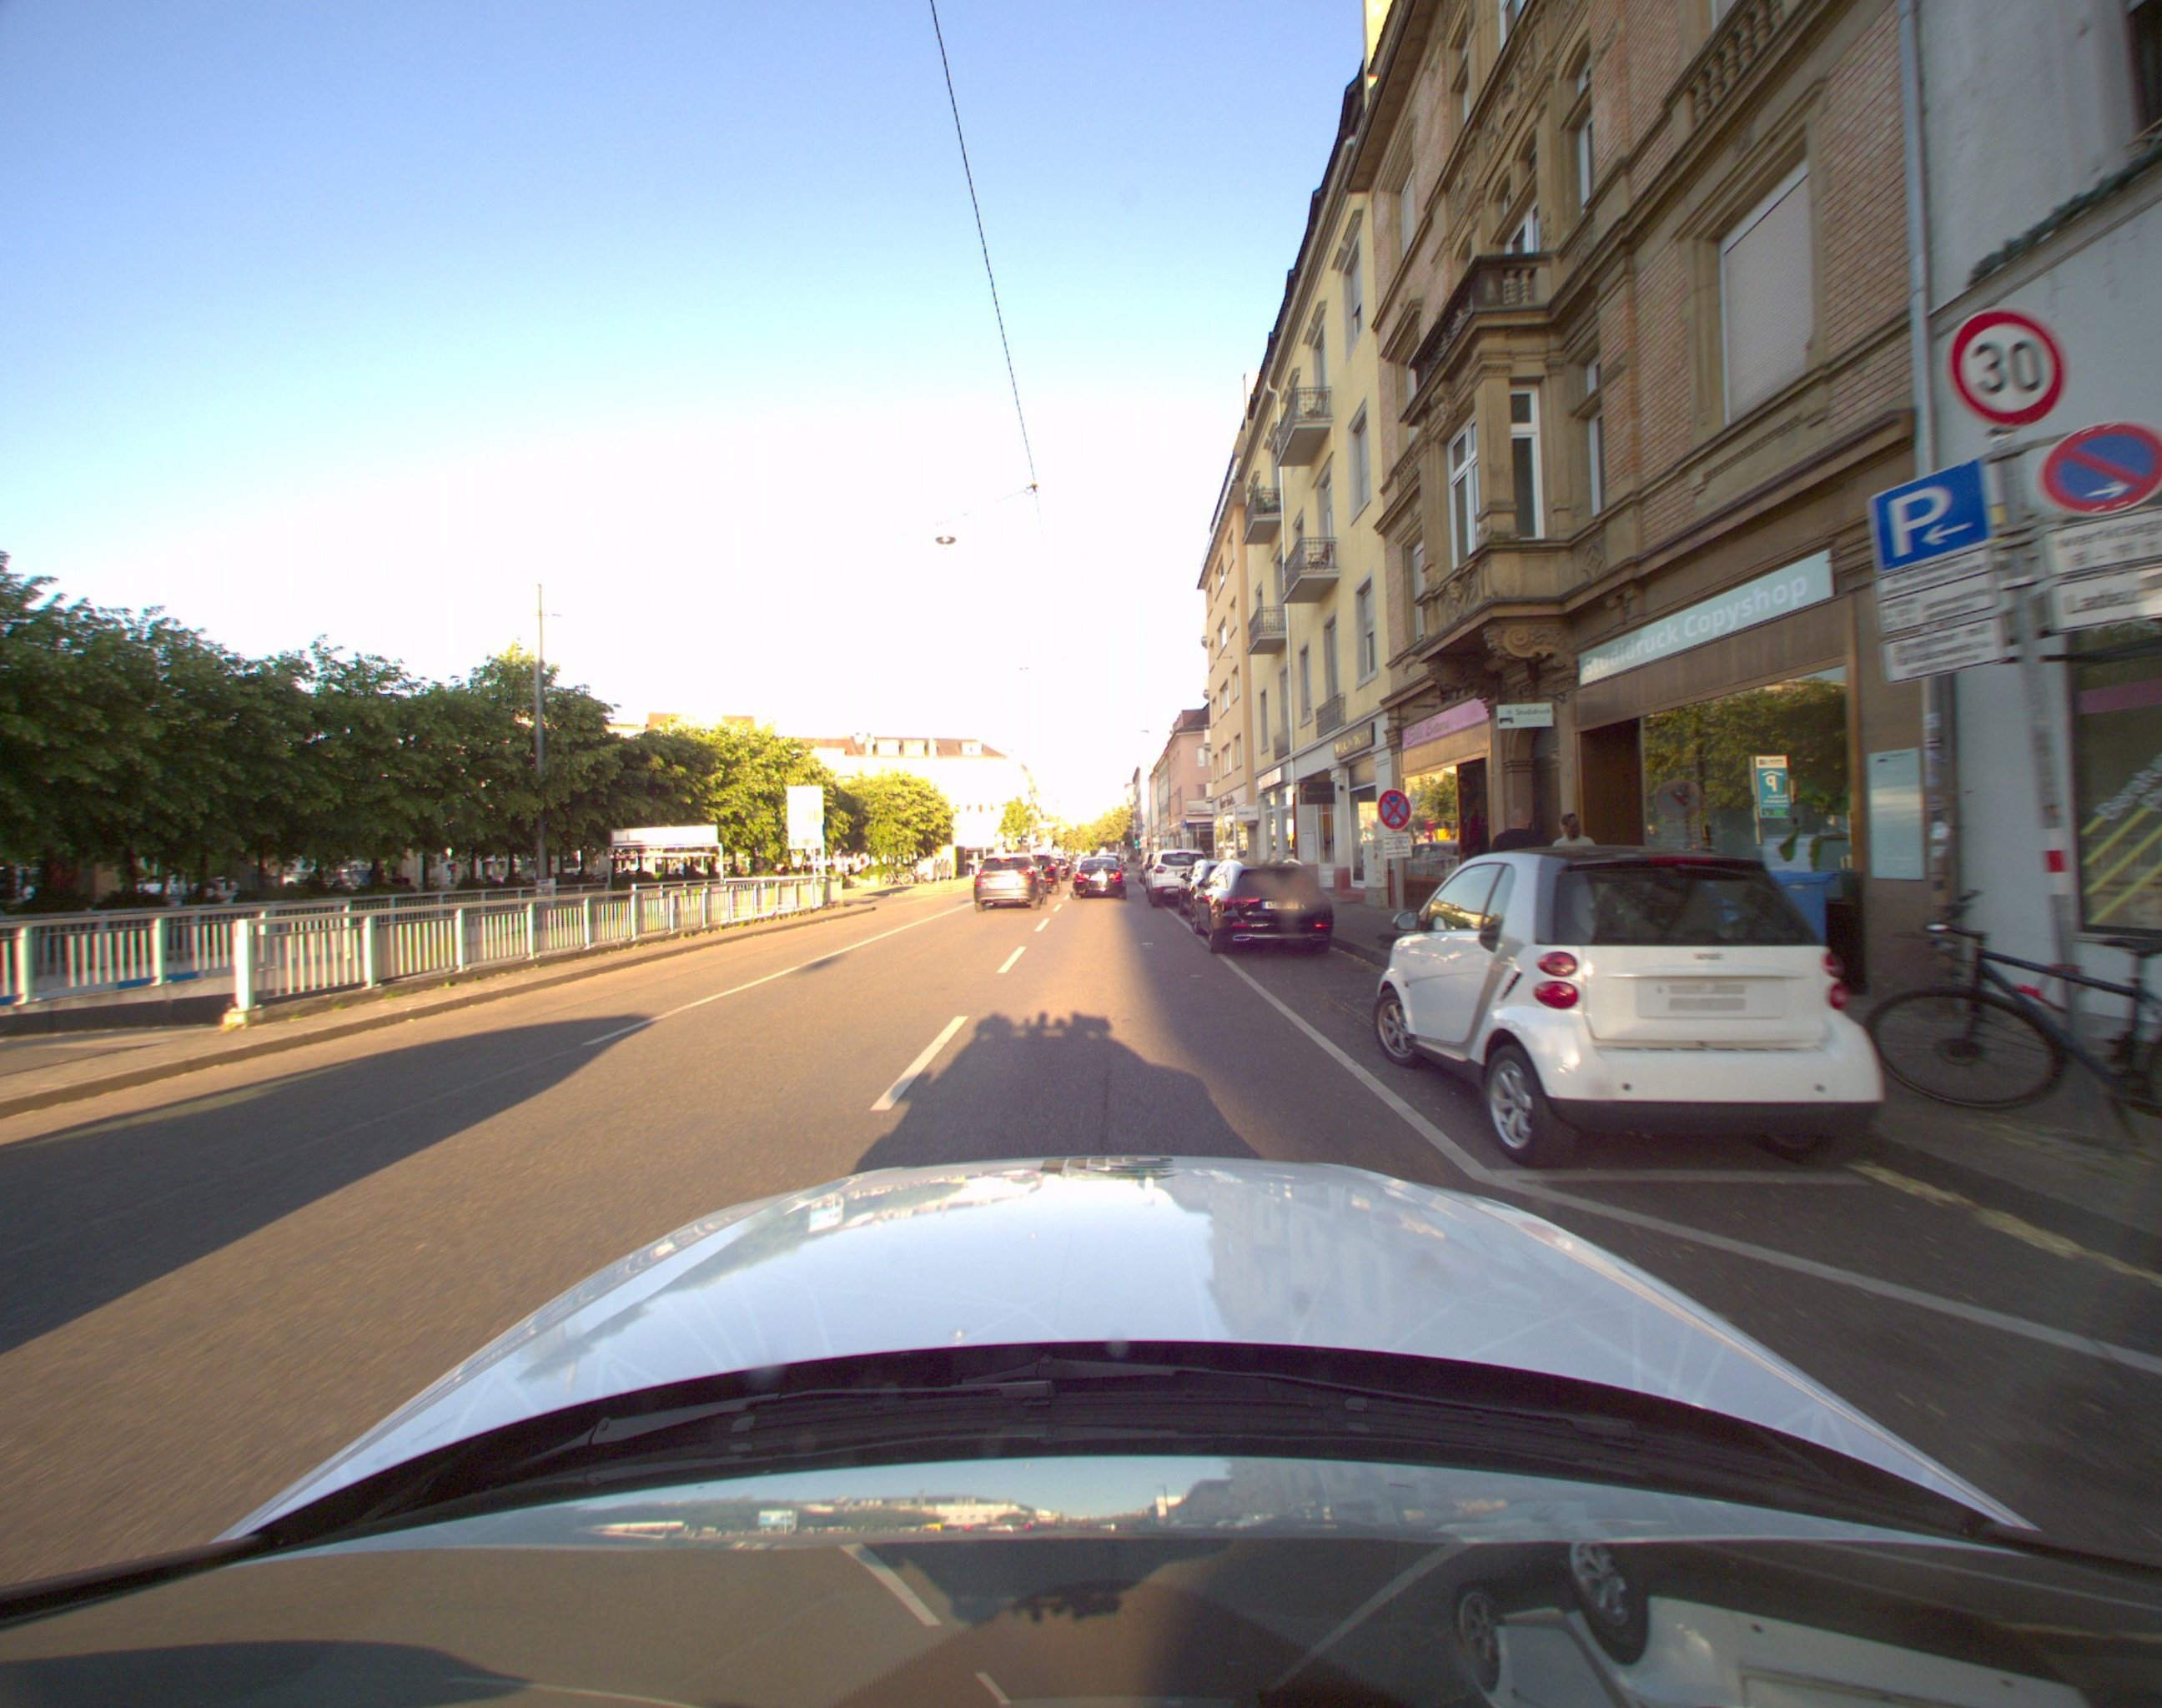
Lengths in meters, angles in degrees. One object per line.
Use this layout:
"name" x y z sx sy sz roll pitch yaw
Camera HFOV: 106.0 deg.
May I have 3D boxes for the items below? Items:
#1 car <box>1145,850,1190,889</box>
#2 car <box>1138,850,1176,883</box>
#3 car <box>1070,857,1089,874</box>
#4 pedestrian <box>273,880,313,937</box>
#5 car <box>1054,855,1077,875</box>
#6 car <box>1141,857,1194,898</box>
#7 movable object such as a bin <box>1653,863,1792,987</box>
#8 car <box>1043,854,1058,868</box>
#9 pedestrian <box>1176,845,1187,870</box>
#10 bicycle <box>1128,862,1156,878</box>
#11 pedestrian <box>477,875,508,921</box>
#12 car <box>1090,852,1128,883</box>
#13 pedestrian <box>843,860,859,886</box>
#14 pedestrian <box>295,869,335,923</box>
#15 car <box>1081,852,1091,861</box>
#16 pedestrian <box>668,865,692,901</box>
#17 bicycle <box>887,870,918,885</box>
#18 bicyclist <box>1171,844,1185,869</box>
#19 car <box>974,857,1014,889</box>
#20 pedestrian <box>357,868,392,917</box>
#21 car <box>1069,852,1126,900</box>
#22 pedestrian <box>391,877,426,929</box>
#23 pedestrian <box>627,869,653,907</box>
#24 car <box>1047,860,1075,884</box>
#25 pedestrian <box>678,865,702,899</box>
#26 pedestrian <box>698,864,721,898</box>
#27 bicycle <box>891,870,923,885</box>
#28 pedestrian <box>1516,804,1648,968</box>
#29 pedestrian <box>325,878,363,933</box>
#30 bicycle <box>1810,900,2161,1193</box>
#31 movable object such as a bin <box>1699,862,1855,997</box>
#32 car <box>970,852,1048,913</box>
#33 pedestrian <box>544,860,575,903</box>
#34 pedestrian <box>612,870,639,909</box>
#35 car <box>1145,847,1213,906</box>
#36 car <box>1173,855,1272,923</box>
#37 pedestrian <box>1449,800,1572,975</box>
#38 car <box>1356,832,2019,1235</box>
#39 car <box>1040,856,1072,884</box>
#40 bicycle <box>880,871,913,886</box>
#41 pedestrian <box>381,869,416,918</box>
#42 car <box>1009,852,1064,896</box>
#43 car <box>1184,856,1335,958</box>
"car" 3.791 0.687 36.258 1.723 1.652 3.830 0 -1 2
"car" 3.918 0.636 42.480 1.723 1.652 3.972 0 -1 2
"car" -0.127 1.117 80.157 1.773 1.547 4.000 -1 0 0
"pedestrian" -22.529 1.542 23.284 0.672 1.595 0.571 -1 0 20
"car" -1.234 0.889 68.174 1.773 1.547 4.000 -1 0 0
"car" 3.197 0.836 30.757 1.723 1.450 4.315 0 -1 3
"movable object such as a bin" 6.088 0.653 7.763 0.772 1.070 0.618 -4 0 0
"car" -3.855 0.887 103.738 1.686 1.552 3.951 -4 0 1
"pedestrian" 7.530 0.252 61.031 0.697 1.812 0.634 -1 0 -2
"bicycle" 3.935 1.013 52.357 1.757 0.967 0.491 -1 0 6
"pedestrian" -20.772 1.549 28.738 0.672 1.595 0.571 -1 0 20
"car" 1.463 0.692 43.487 1.890 1.581 4.000 0 0 1
"pedestrian" -14.514 1.218 51.375 0.783 1.595 0.571 -1 0 20
"pedestrian" -23.146 1.263 24.600 0.783 1.595 0.571 -1 0 20
"car" 0.986 0.409 147.723 1.773 1.547 4.000 -1 0 0
"pedestrian" -18.209 1.309 36.998 0.783 1.595 0.571 -1 0 20
"bicycle" -11.090 1.446 50.534 1.821 0.853 0.483 1 0 -3
"bicyclist" 7.035 0.197 59.109 0.823 1.777 0.612 -1 0 28
"car" -4.879 1.037 46.033 1.686 1.552 3.951 -4 0 1
"pedestrian" -23.712 1.284 27.345 0.783 1.595 0.571 -1 0 20
"car" 0.581 0.743 29.333 1.890 1.581 4.000 0 0 1
"pedestrian" -21.478 1.554 26.003 0.672 1.595 0.571 -1 0 20
"pedestrian" -18.952 1.475 34.976 0.672 1.595 0.680 -1 0 20
"car" -1.384 1.198 56.556 1.773 1.547 4.000 -1 0 0
"pedestrian" -18.252 1.309 38.012 0.783 1.595 0.571 -1 0 20
"pedestrian" -17.940 1.300 39.353 0.783 1.595 0.571 -1 0 20
"bicycle" -10.572 1.451 49.616 1.821 0.853 0.483 1 0 -3
"pedestrian" 5.644 0.341 9.243 0.770 1.711 1.042 -4 0 1
"pedestrian" -22.182 1.546 24.504 0.672 1.595 0.571 -1 0 20
"bicycle" 4.363 0.777 3.612 0.502 1.016 1.947 -2 0 1
"movable object such as a bin" 6.035 0.634 7.098 0.772 1.070 0.618 -4 0 0
"car" -2.093 0.784 24.695 1.890 1.649 4.105 -1 0 1
"pedestrian" -19.951 1.039 31.155 0.672 1.595 0.680 -1 0 20
"pedestrian" -19.199 1.490 34.328 0.672 1.595 0.680 -1 0 20
"car" 2.919 0.648 24.999 1.723 1.651 4.286 0 -1 2
"car" 3.251 0.762 19.451 1.723 1.448 4.475 0 -1 2
"pedestrian" 4.839 0.359 9.254 0.770 1.827 1.011 -4 0 1
"car" 2.873 0.709 4.773 1.526 1.536 3.285 -1 -1 3
"car" -1.465 0.913 49.091 1.773 1.547 4.000 -1 0 0
"bicycle" -10.813 1.448 47.862 1.821 0.853 0.483 1 0 -3
"pedestrian" -22.720 1.294 27.111 0.783 1.595 0.571 -1 0 20
"car" -1.747 0.760 33.272 1.890 1.649 4.104 -1 0 1
"car" 2.843 0.781 13.910 1.723 1.448 4.526 0 -1 2
